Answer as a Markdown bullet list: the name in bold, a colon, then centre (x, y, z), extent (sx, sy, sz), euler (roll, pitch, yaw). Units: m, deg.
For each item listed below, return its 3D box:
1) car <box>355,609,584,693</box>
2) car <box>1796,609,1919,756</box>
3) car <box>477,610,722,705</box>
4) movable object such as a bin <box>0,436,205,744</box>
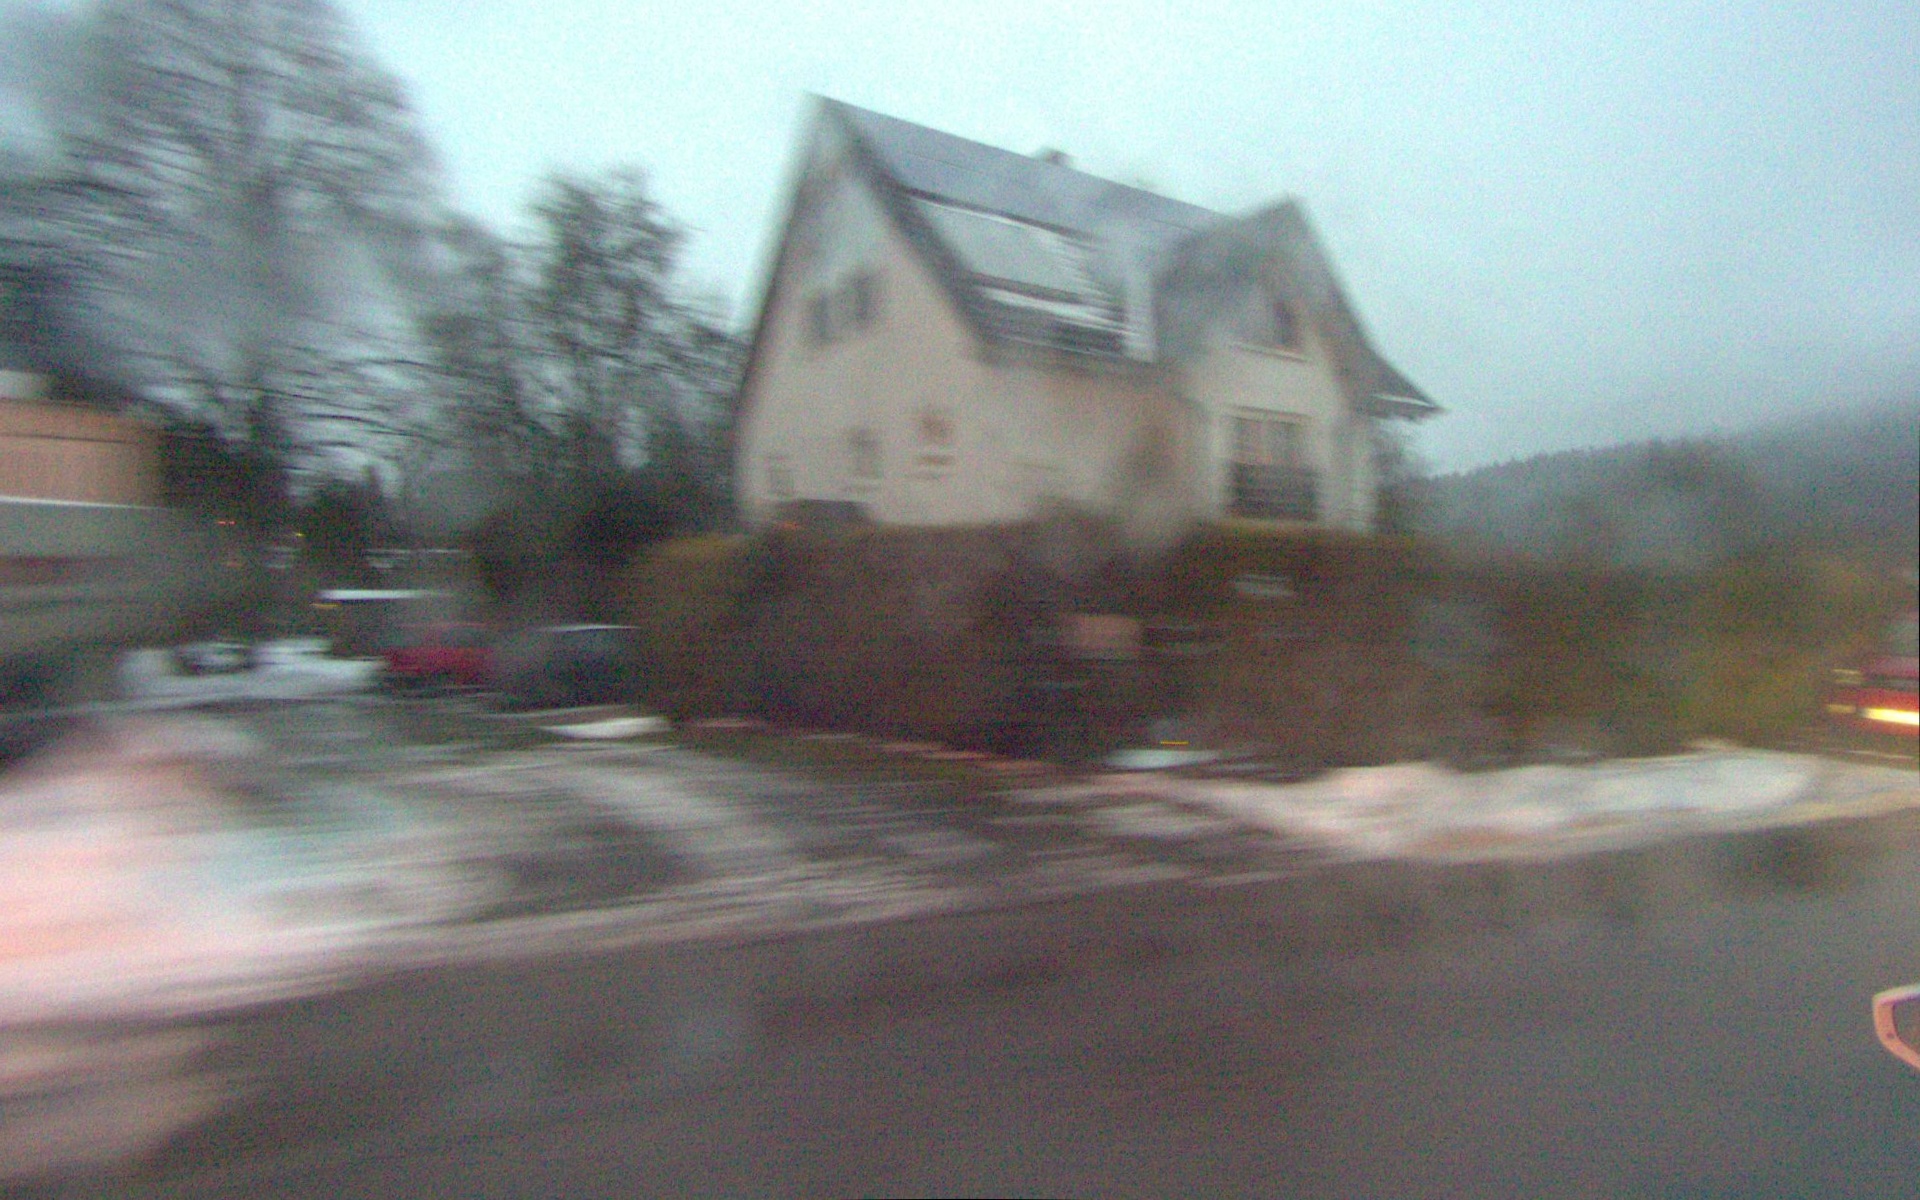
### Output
- **car**: centre (-10.096, 0.977, 20.971), extent (1.772, 1.484, 3.991), euler (0, 1, 31)
- **car**: centre (11.639, 0.902, 11.791), extent (3.475, 1.555, 1.710), euler (1, 0, -30)
- **car**: centre (-6.648, 0.985, 18.652), extent (3.959, 1.484, 1.787), euler (-1, 1, -35)
- **movable object such as a bin**: centre (-6.022, -0.121, 6.055), extent (1.415, 1.671, 2.366), euler (2, 3, -10)
